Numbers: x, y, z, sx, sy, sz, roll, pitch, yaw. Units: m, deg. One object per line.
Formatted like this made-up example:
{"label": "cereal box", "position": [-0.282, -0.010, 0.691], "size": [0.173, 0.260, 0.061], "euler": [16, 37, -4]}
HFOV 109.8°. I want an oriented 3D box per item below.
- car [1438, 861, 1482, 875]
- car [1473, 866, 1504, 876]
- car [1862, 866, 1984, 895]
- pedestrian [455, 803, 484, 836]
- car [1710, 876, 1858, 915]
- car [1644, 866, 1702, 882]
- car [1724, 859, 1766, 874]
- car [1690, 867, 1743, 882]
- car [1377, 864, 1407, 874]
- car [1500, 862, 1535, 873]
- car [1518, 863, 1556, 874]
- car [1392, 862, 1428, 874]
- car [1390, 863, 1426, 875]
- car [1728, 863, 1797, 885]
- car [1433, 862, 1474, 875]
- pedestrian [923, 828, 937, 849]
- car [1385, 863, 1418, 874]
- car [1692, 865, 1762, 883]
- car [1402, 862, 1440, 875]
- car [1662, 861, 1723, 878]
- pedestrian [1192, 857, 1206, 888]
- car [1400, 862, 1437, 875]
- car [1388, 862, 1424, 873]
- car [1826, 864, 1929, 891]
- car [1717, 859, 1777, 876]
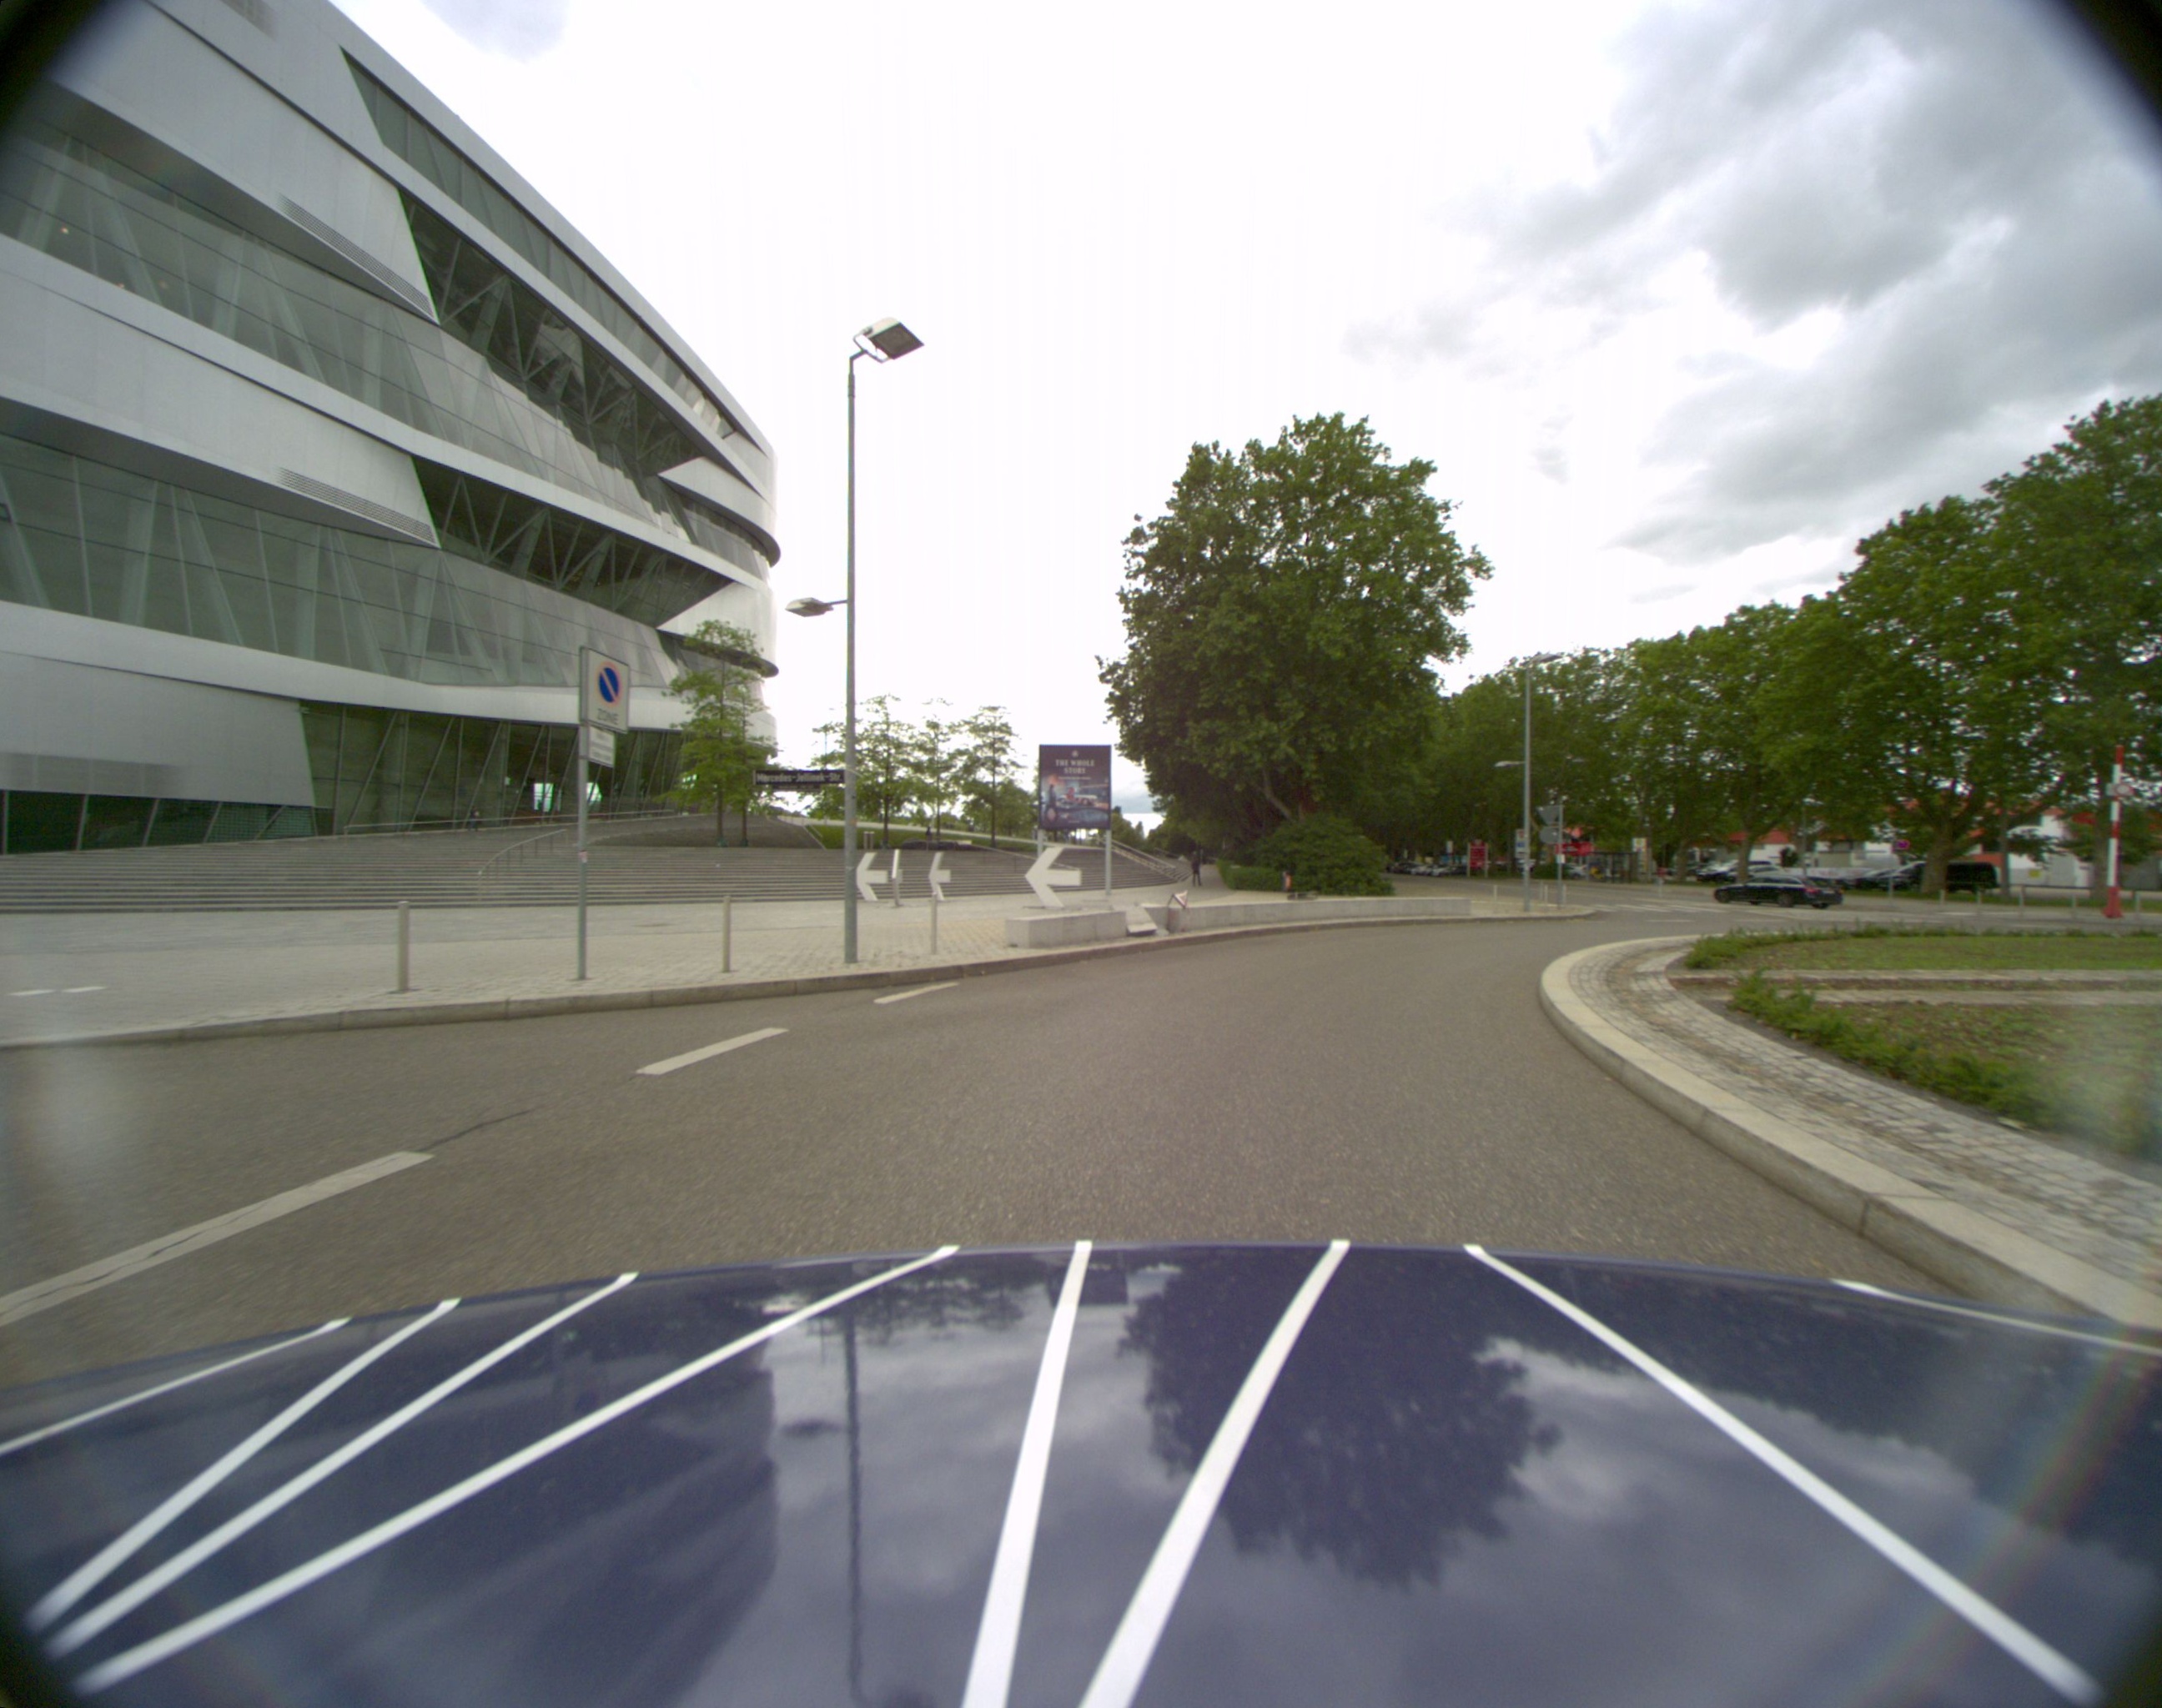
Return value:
{"label": "car", "position": [42.403, 1.568, 85.102], "size": [4.168, 1.509, 1.874], "euler": [0, -1, 17]}
{"label": "car", "position": [63.811, 2.629, 119.028], "size": [3.999, 1.509, 1.874], "euler": [0, -1, 17]}
{"label": "car", "position": [50.918, 1.582, 46.054], "size": [4.805, 1.717, 2.014], "euler": [0, -1, 8]}
{"label": "pedestrian", "position": [-36.324, -2.051, 45.142], "size": [0.851, 1.914, 0.953], "euler": [0, 4, 13]}
{"label": "car", "position": [30.857, 1.772, 33.585], "size": [1.796, 1.554, 4.725], "euler": [0, -1, -7]}
{"label": "car", "position": [56.921, 1.949, 73.132], "size": [3.999, 1.509, 1.874], "euler": [0, -1, 16]}
{"label": "car", "position": [78.632, 1.483, 90.047], "size": [1.794, 1.709, 3.959], "euler": [0, -1, 7]}
{"label": "car", "position": [68.213, 2.189, 81.618], "size": [4.001, 1.509, 1.873], "euler": [0, -1, 8]}
{"label": "car", "position": [47.074, 2.243, 115.075], "size": [3.999, 1.509, 1.874], "euler": [0, -1, 17]}
{"label": "car", "position": [61.881, 1.921, 107.752], "size": [3.998, 1.509, 1.875], "euler": [0, -1, 18]}
{"label": "car", "position": [60.712, 1.897, 101.177], "size": [3.998, 1.509, 1.875], "euler": [0, -1, 18]}
{"label": "car", "position": [41.720, 1.820, 96.294], "size": [3.999, 1.509, 1.874], "euler": [0, -1, 17]}
{"label": "car", "position": [42.246, 1.886, 98.214], "size": [3.999, 1.509, 1.874], "euler": [0, -1, 17]}
{"label": "car", "position": [54.115, 1.582, 60.410], "size": [3.704, 1.767, 1.673], "euler": [0, -1, 16]}
{"label": "car", "position": [42.912, 1.634, 87.524], "size": [3.999, 1.509, 1.874], "euler": [0, -1, 17]}
{"label": "pedestrian", "position": [-10.315, -1.043, 51.871], "size": [0.792, 1.379, 0.681], "euler": [0, 0, -21]}
{"label": "car", "position": [43.669, 1.943, 103.578], "size": [3.999, 1.509, 1.874], "euler": [0, -1, 17]}
{"label": "car", "position": [53.706, 1.654, 63.266], "size": [3.999, 1.509, 1.874], "euler": [0, -1, 16]}
{"label": "car", "position": [41.143, 1.782, 92.084], "size": [3.999, 1.600, 1.871], "euler": [0, -1, 17]}
{"label": "car", "position": [56.052, 1.416, 69.737], "size": [3.999, 1.509, 1.874], "euler": [0, -1, 16]}
{"label": "pedestrian", "position": [6.877, 1.079, 44.257], "size": [0.596, 1.751, 0.554], "euler": [0, 0, -35]}
{"label": "car", "position": [41.703, 1.749, 94.032], "size": [3.999, 1.600, 1.871], "euler": [0, -1, 17]}
{"label": "car", "position": [46.003, 1.921, 107.528], "size": [4.429, 1.642, 1.799], "euler": [0, -1, 12]}
{"label": "car", "position": [51.373, 1.508, 49.114], "size": [4.285, 1.717, 2.014], "euler": [0, -1, 7]}
{"label": "car", "position": [68.534, 1.398, 78.253], "size": [4.431, 1.642, 1.798], "euler": [0, -1, 7]}
